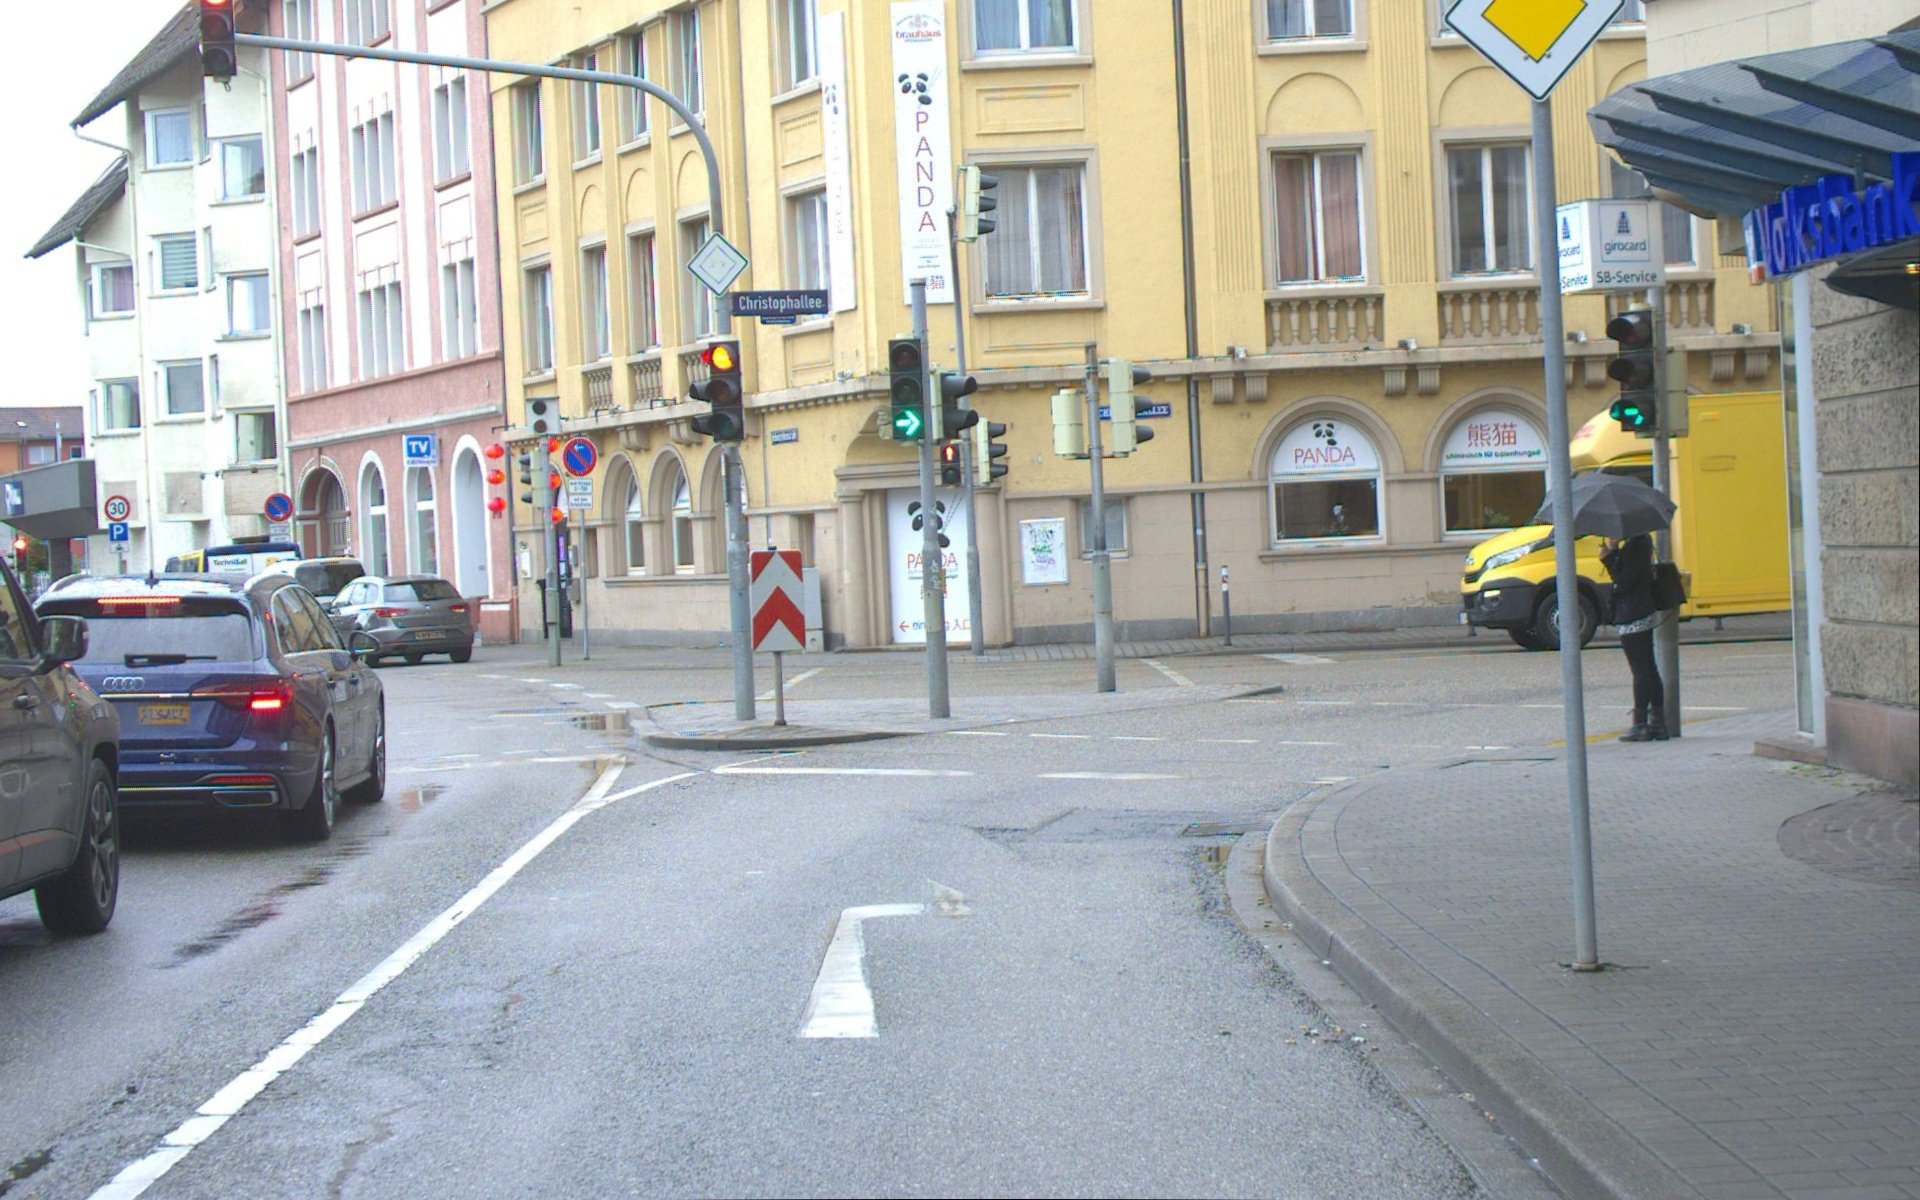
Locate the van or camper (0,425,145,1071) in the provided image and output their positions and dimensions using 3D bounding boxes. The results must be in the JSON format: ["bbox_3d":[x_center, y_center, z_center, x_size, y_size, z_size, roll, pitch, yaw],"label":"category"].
[{"bbox_3d":[-4.175,0.499,12.036,1.854,2.139,4.143,-2,1,-4],"label":"van or camper"}]

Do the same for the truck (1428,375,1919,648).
[{"bbox_3d":[9.122,-1.037,39.492,7.091,2.841,2.083,-2,0,-1],"label":"truck"}]

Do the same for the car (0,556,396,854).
[{"bbox_3d":[-4.259,0.499,18.986,1.803,1.401,4.684,-2,0,-4],"label":"car"}]

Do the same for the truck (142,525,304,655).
[{"bbox_3d":[-14.284,-0.218,66.474,2.026,2.381,4.237,-2,1,-26],"label":"truck"}]

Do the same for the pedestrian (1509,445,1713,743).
[{"bbox_3d":[4.293,-0.045,22.635,1.058,1.897,1.024,-2,1,23],"label":"pedestrian"}]

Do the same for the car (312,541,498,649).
[{"bbox_3d":[-8.897,-0.094,54.917,1.878,1.631,4.001,-1,1,-25],"label":"car"}]

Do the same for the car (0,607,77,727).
[{"bbox_3d":[-15.680,1.064,54.840,1.993,1.809,4.000,-3,1,-31],"label":"car"}]

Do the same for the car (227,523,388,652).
[{"bbox_3d":[-11.651,-0.242,61.248,1.761,2.172,4.001,-2,1,-26],"label":"car"}]
